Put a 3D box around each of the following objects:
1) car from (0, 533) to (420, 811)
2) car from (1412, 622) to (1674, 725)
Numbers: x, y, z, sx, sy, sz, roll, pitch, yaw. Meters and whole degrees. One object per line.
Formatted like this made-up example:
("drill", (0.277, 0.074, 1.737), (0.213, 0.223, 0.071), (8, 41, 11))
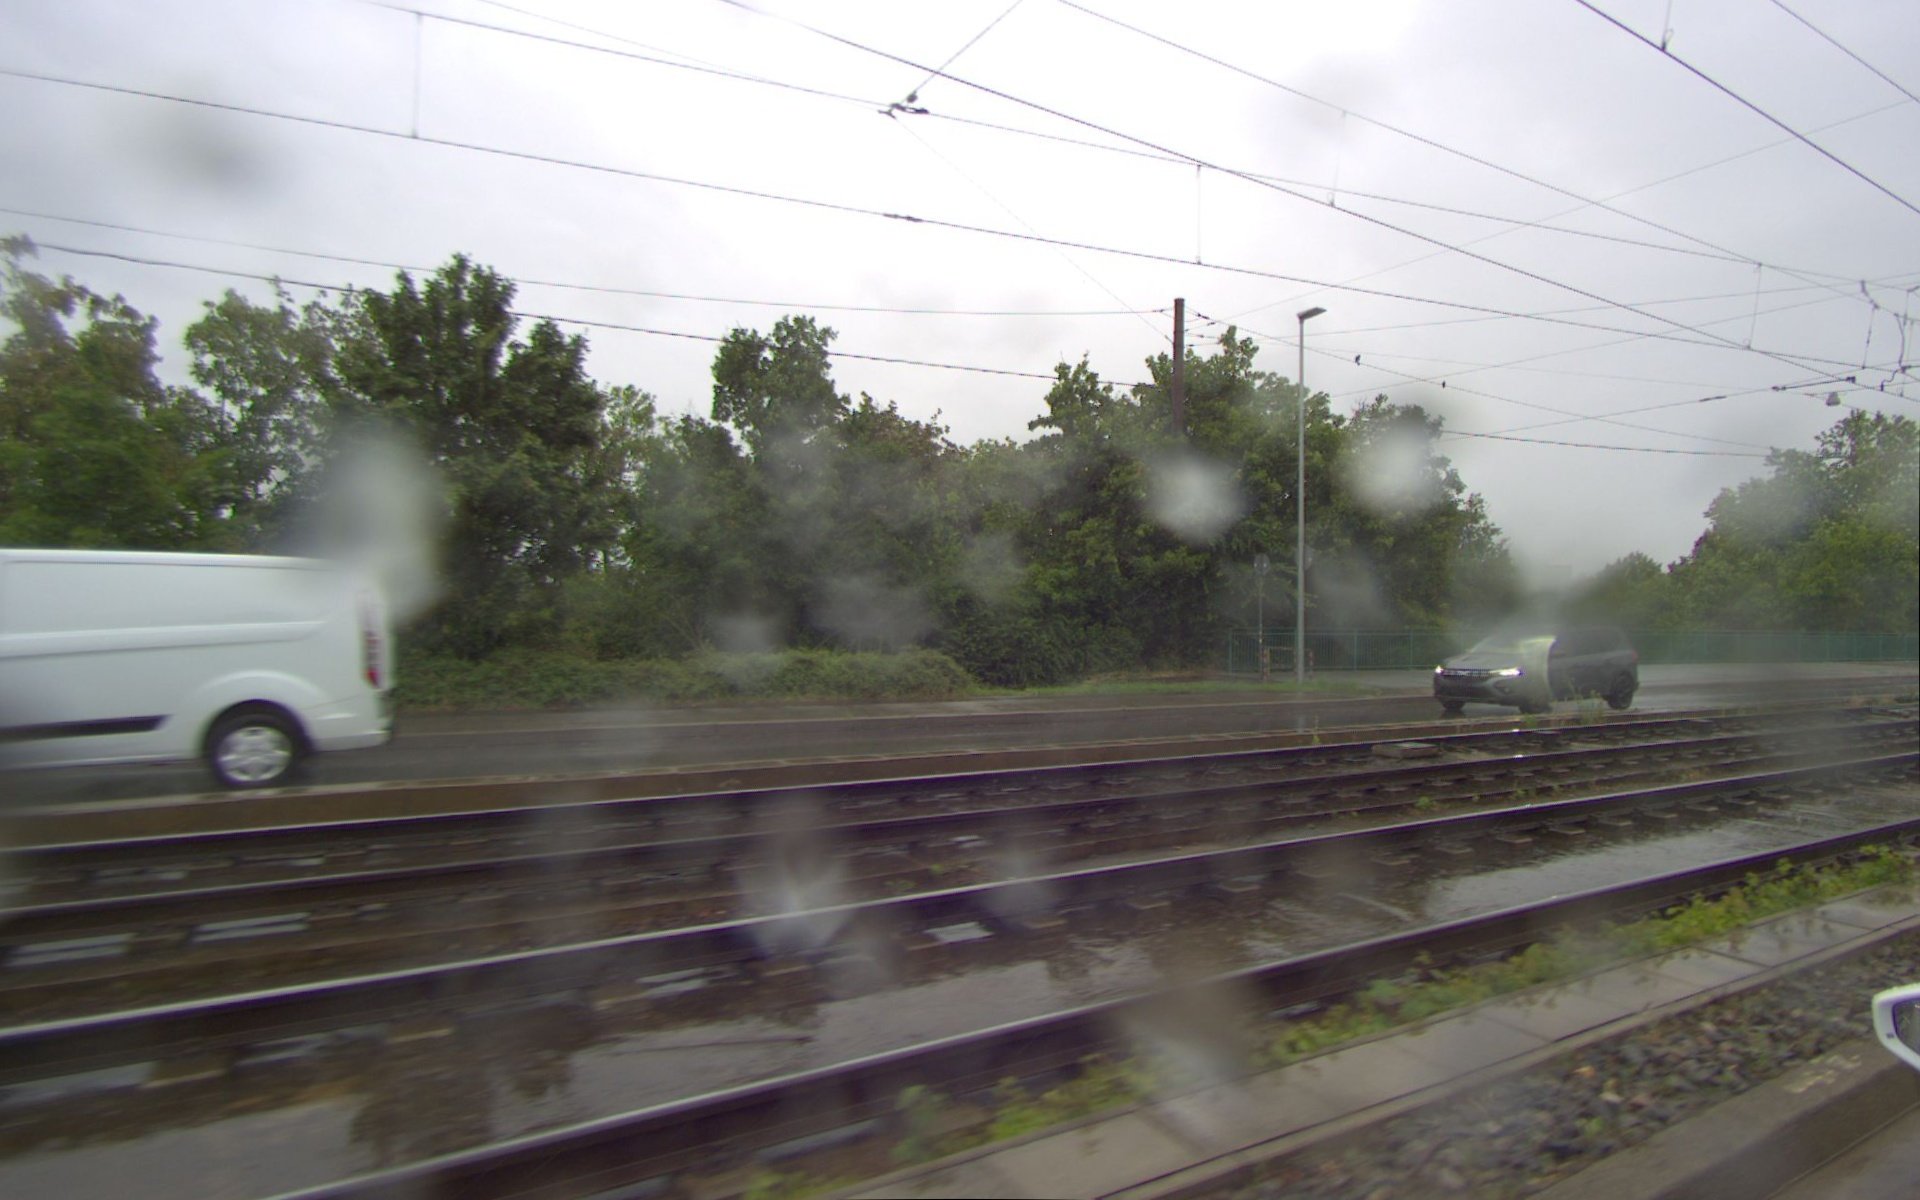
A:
("car", (-7.427, 0.526, 8.483), (4.970, 2.071, 1.983), (2, 0, -31))
("car", (11.225, 1.321, 19.217), (5.309, 1.671, 1.983), (2, 0, -31))
